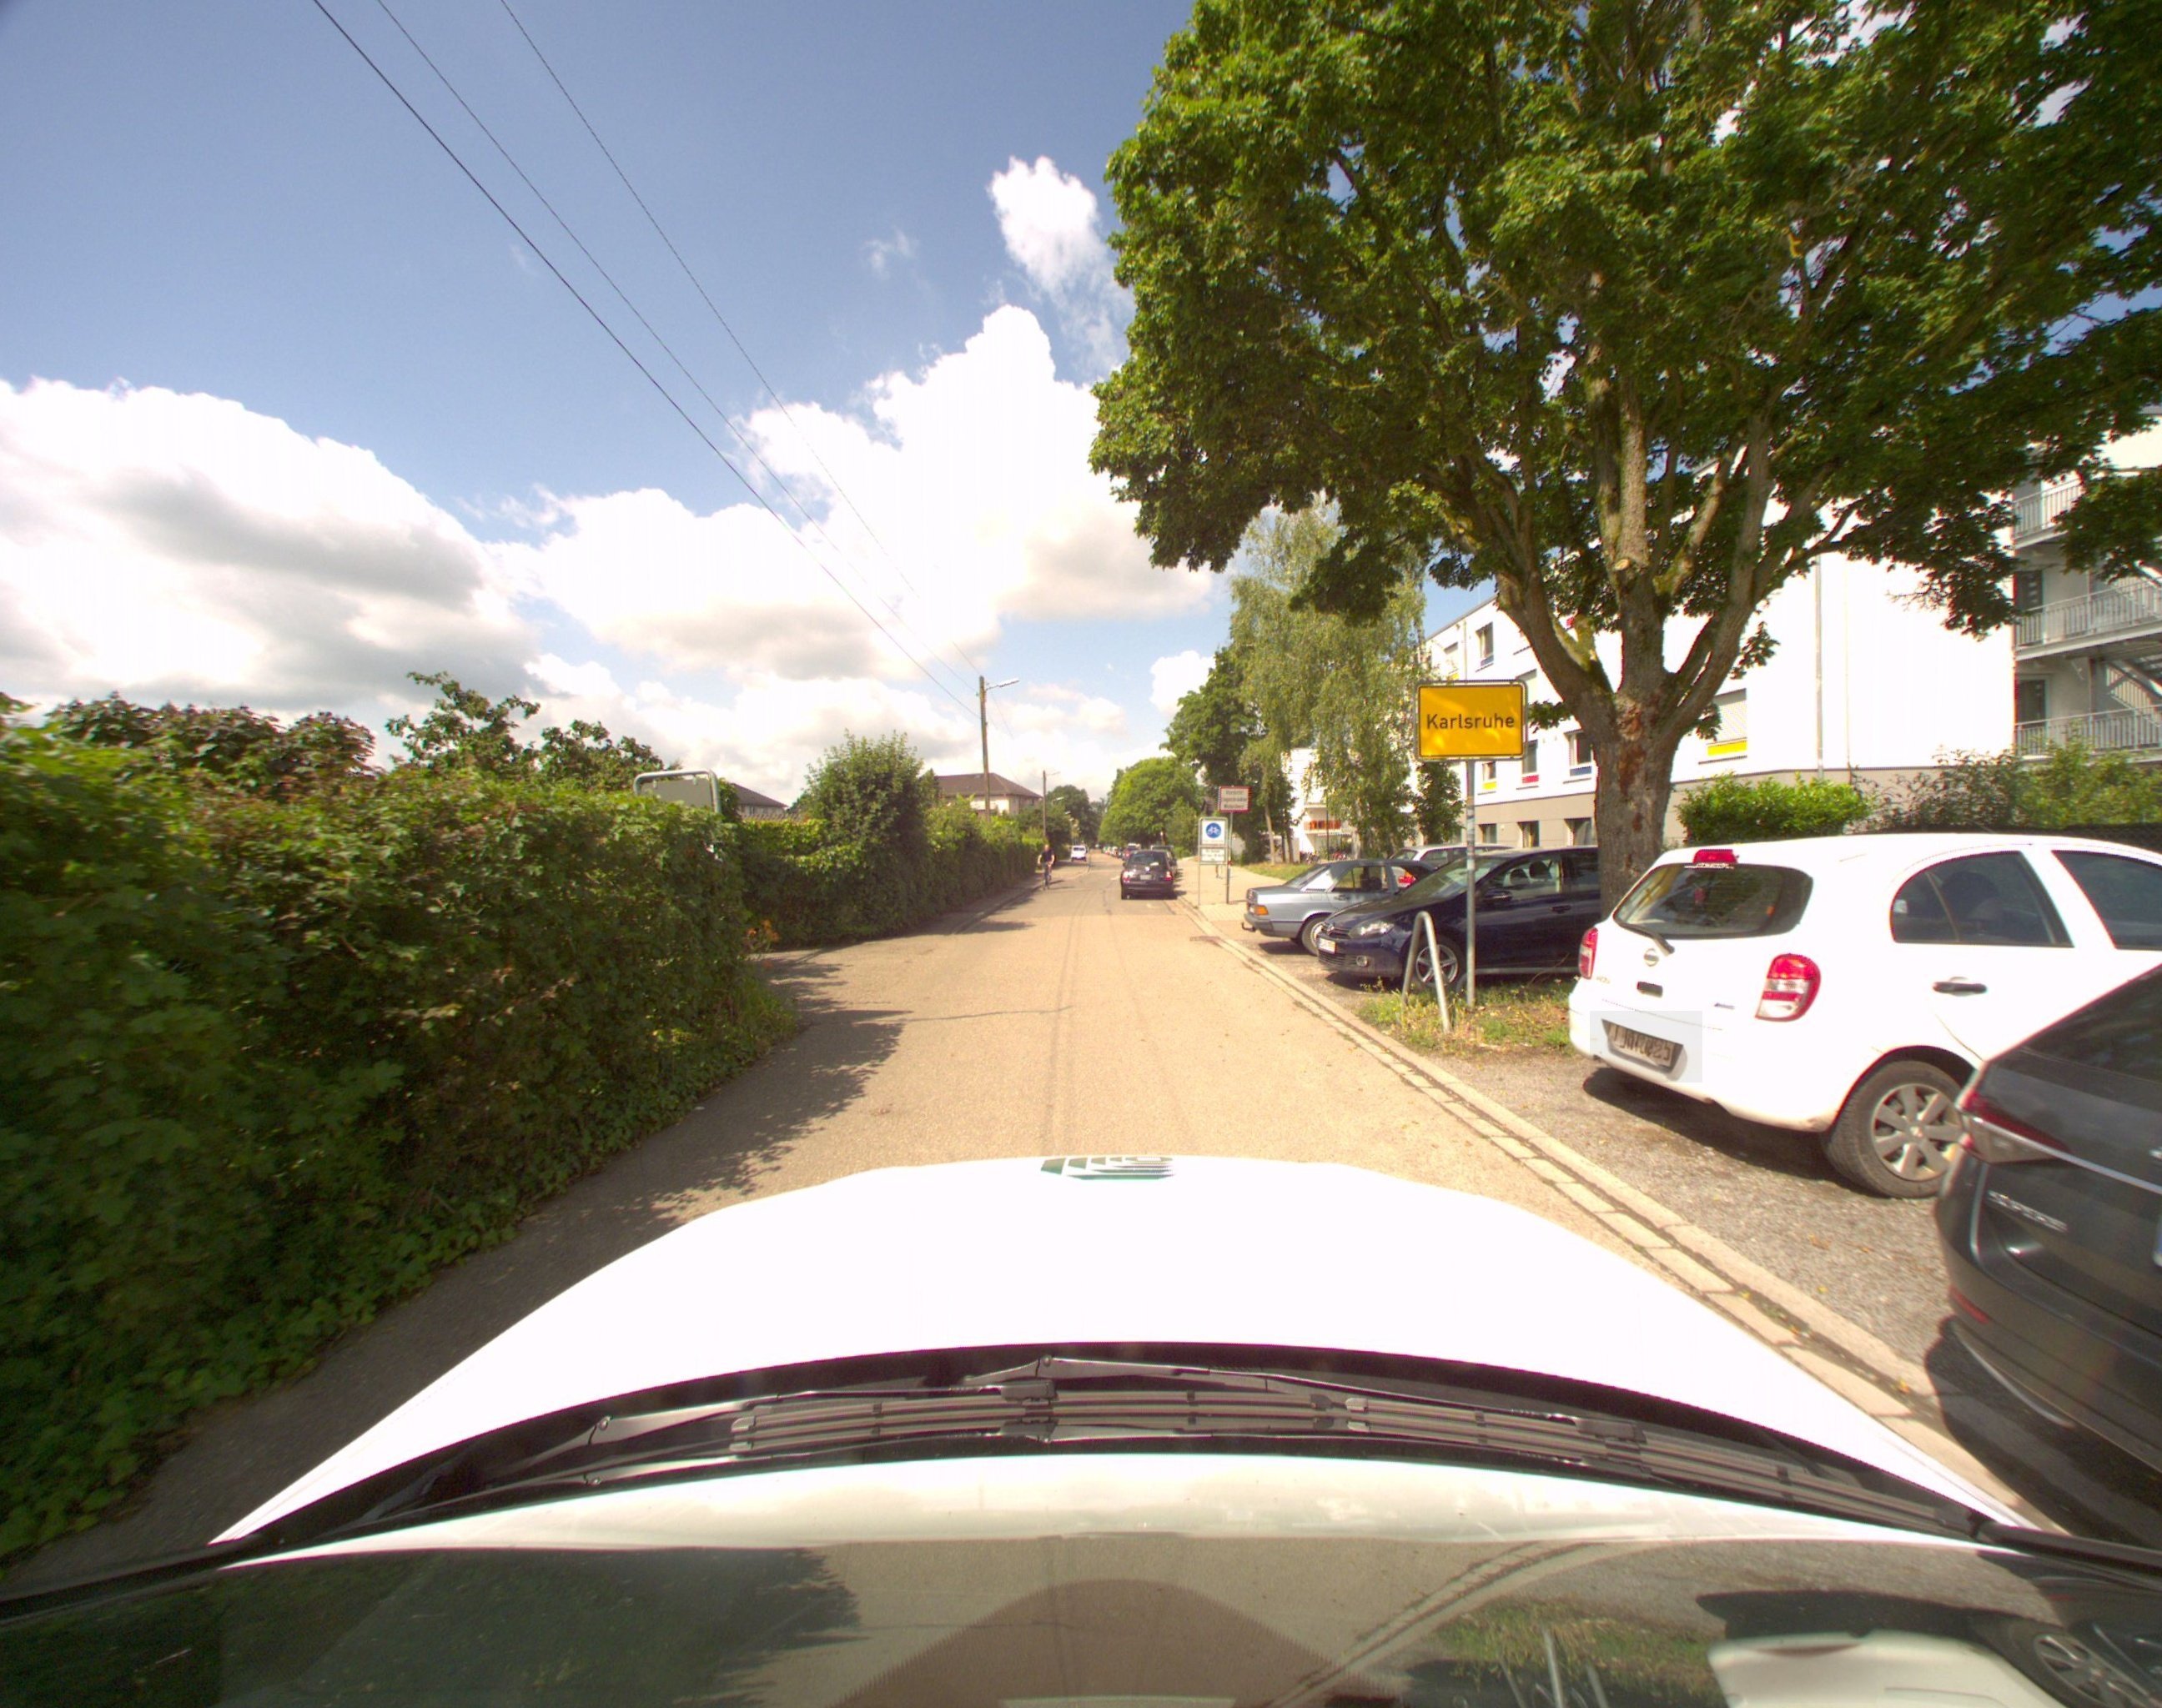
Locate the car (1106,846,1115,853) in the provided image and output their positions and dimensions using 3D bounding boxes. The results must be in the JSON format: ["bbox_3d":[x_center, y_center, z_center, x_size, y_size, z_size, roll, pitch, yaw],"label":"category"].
[{"bbox_3d":[6.935,-0.991,188.762,1.843,1.618,4.006,0,0,5],"label":"car"}]

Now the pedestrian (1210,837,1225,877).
[{"bbox_3d":[6.109,0.129,36.530,0.606,1.745,0.724,0,0,14],"label":"pedestrian"}]

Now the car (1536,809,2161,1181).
[{"bbox_3d":[4.637,0.591,4.327,3.565,1.549,1.665,0,0,-3],"label":"car"}]

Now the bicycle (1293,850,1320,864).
[{"bbox_3d":[19.350,0.277,69.907,2.038,1.079,0.689,-3,0,3],"label":"bicycle"}]

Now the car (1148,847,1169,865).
[{"bbox_3d":[6.573,0.166,69.534,1.671,1.519,4.004,0,0,3],"label":"car"}]

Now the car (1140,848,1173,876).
[{"bbox_3d":[4.043,0.399,43.380,1.655,1.439,3.750,0,0,5],"label":"car"}]

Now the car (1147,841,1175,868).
[{"bbox_3d":[5.473,0.043,55.682,1.865,1.806,3.437,0,0,5],"label":"car"}]

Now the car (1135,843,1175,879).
[{"bbox_3d":[3.427,0.304,37.329,1.654,1.552,3.645,0,0,8],"label":"car"}]

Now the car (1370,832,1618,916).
[{"bbox_3d":[8.429,0.395,16.883,4.227,1.430,1.758,-3,0,-1],"label":"car"}]

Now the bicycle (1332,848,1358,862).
[{"bbox_3d":[23.383,0.086,72.082,2.038,1.079,0.689,-3,0,3],"label":"bicycle"}]

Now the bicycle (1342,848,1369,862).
[{"bbox_3d":[23.104,0.101,68.559,2.038,1.079,0.689,-3,0,3],"label":"bicycle"}]

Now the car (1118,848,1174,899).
[{"bbox_3d":[2.128,0.574,26.277,1.655,1.506,4.006,0,0,5],"label":"car"}]

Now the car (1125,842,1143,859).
[{"bbox_3d":[6.170,-0.404,94.410,2.049,1.926,4.545,0,0,3],"label":"car"}]

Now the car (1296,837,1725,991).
[{"bbox_3d":[4.634,0.610,9.230,3.922,1.559,1.867,0,0,-1],"label":"car"}]

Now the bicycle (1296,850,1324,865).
[{"bbox_3d":[19.209,0.280,68.313,2.079,1.119,0.626,-3,0,5],"label":"bicycle"}]

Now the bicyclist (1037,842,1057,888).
[{"bbox_3d":[-1.390,0.443,33.741,0.656,1.852,1.044,-2,0,3],"label":"bicyclist"}]

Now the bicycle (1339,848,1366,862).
[{"bbox_3d":[23.165,0.108,69.421,2.038,1.079,0.689,-3,0,3],"label":"bicycle"}]

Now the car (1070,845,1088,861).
[{"bbox_3d":[-0.221,-0.094,94.545,1.894,1.814,4.004,0,0,3],"label":"car"}]

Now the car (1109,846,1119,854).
[{"bbox_3d":[7.121,-0.885,173.948,1.843,1.618,4.006,-1,0,5],"label":"car"}]

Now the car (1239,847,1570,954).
[{"bbox_3d":[4.695,0.663,12.339,4.338,1.392,1.720,-2,0,4],"label":"car"}]

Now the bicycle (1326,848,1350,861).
[{"bbox_3d":[23.722,0.063,75.216,2.038,1.079,0.689,-3,0,3],"label":"bicycle"}]

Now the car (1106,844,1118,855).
[{"bbox_3d":[5.503,-0.743,144.288,2.049,1.961,4.545,0,0,3],"label":"car"}]

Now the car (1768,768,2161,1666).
[{"bbox_3d":[4.169,0.644,1.398,4.535,1.578,1.808,0,0,-1],"label":"car"}]

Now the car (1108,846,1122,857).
[{"bbox_3d":[5.025,-0.346,119.387,2.049,1.652,4.545,0,0,3],"label":"car"}]

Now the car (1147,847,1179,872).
[{"bbox_3d":[4.799,0.329,48.170,1.657,1.435,3.543,0,0,2],"label":"car"}]

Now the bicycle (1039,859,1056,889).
[{"bbox_3d":[-1.381,0.822,33.758,0.515,1.150,1.828,-2,0,3],"label":"bicycle"}]

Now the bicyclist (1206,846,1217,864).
[{"bbox_3d":[13.149,0.090,82.246,0.777,1.785,0.900,0,0,33],"label":"bicyclist"}]
